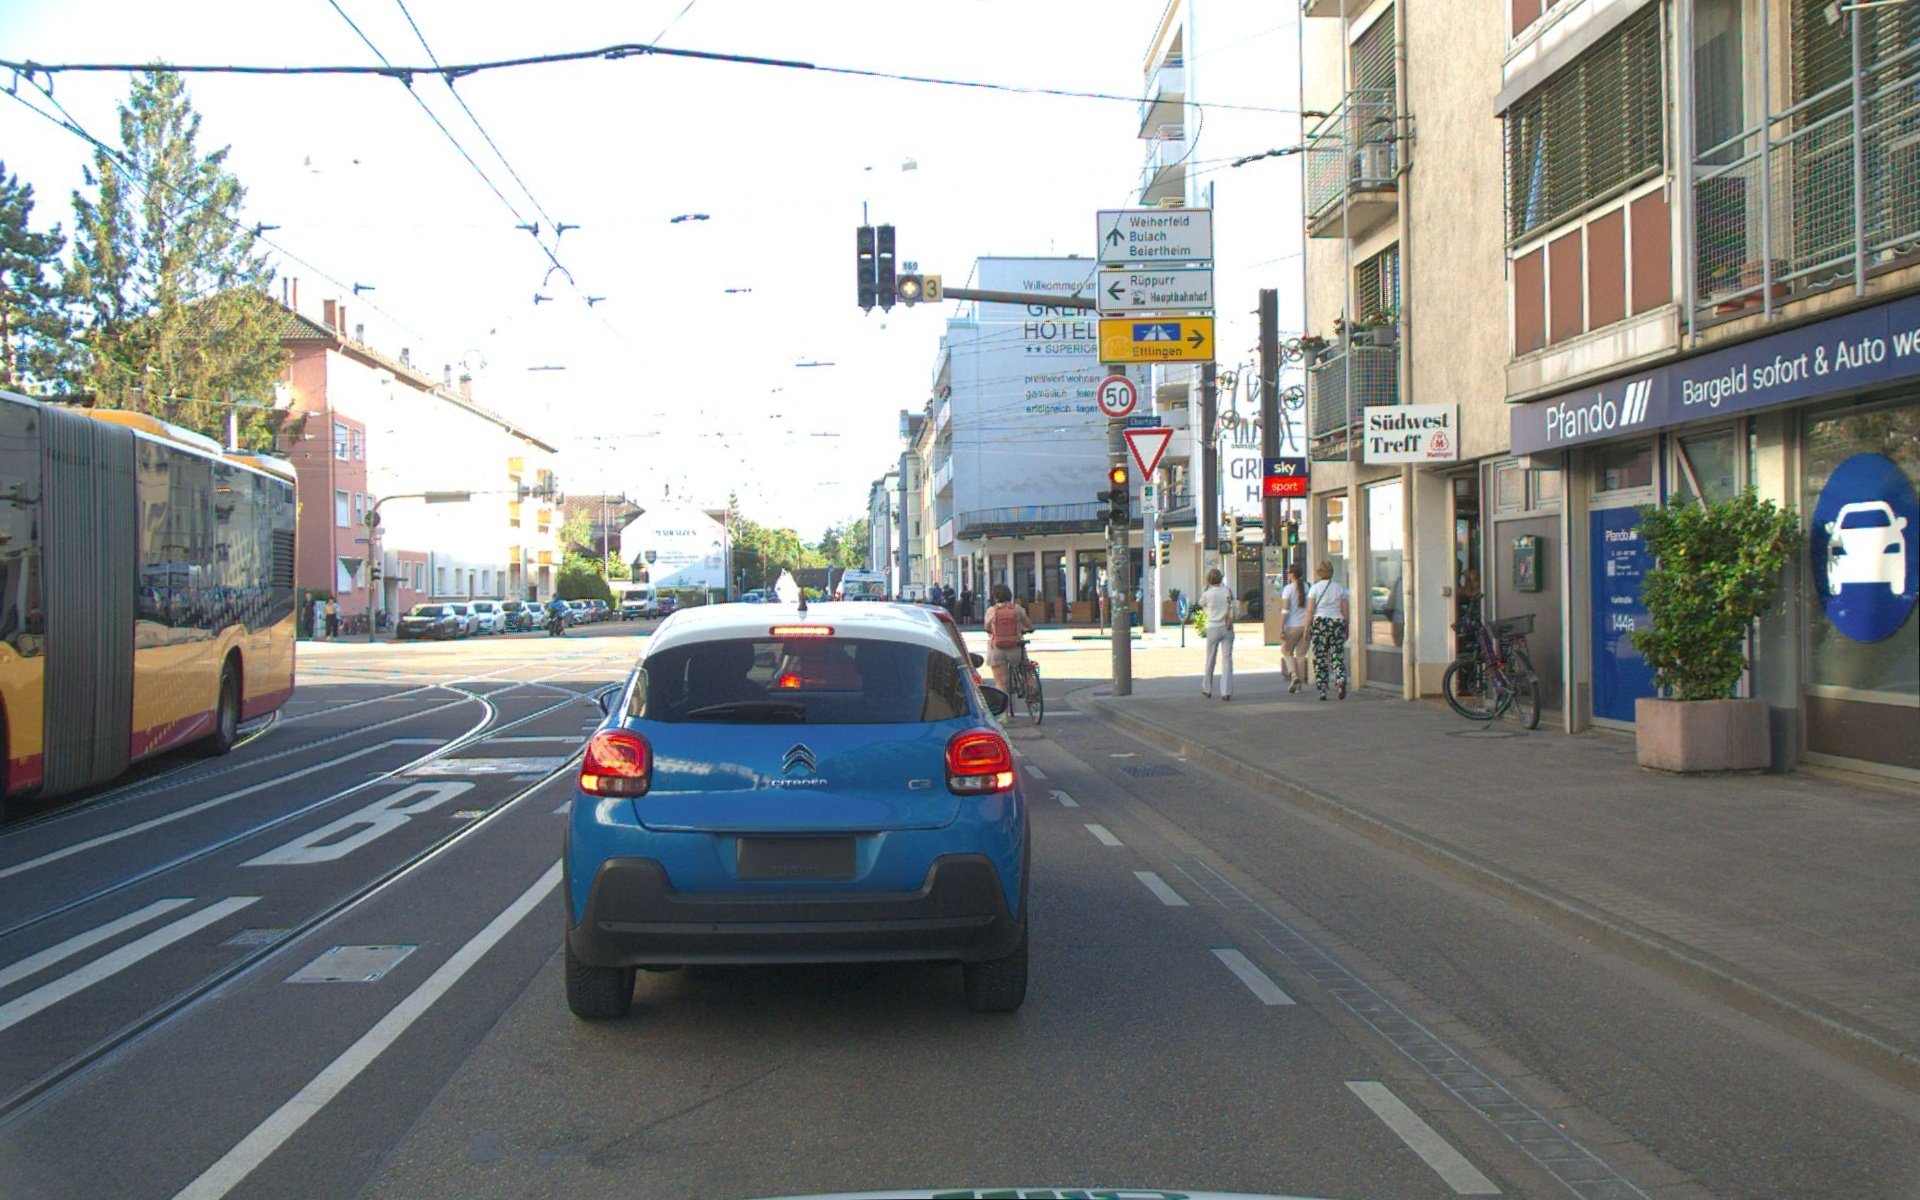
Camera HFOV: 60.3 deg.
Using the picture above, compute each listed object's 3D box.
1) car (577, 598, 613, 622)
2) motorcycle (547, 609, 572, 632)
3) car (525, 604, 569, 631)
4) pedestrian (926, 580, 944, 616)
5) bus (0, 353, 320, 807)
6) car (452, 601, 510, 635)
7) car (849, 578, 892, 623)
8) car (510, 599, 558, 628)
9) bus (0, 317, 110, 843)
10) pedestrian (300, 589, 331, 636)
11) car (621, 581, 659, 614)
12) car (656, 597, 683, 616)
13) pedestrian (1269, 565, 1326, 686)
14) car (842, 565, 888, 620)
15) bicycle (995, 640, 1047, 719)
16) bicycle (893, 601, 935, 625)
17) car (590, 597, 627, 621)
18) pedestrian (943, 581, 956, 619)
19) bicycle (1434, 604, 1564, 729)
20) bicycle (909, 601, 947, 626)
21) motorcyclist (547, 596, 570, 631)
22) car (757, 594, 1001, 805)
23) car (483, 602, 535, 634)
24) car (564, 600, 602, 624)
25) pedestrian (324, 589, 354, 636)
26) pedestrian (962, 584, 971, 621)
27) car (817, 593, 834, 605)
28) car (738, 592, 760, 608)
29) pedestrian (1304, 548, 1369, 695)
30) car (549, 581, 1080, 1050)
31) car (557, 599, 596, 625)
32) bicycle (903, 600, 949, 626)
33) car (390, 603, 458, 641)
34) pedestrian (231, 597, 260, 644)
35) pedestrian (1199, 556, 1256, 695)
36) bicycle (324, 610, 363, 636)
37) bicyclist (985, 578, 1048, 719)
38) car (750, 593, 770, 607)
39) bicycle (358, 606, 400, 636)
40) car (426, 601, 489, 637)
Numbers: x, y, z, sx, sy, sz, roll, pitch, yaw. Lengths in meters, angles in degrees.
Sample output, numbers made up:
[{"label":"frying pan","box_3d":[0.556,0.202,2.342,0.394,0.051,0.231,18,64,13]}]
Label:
[{"label":"car","box_3d":[-25.519,0.711,115.758,1.833,1.601,3.997,-1,0,-4]},{"label":"motorcycle","box_3d":[-16.228,0.832,67.015,0.603,0.879,1.670,-1,0,-1]},{"label":"car","box_3d":[-24.271,1.011,97.281,1.874,1.523,3.996,-1,0,-5]},{"label":"pedestrian","box_3d":[-1.099,-0.080,72.555,0.637,1.583,0.490,-1,0,-23]},{"label":"bus","box_3d":[-8.105,-0.144,15.297,2.689,3.217,7.558,-1,0,-11]},{"label":"car","box_3d":[-22.786,0.846,78.812,1.874,1.523,3.996,-1,0,-5]},{"label":"car","box_3d":[-3.667,0.033,67.458,1.698,1.780,3.211,0,0,-4]},{"label":"car","box_3d":[-23.607,0.738,91.720,1.874,1.523,3.996,-1,0,-5]},{"label":"bus","box_3d":[-6.787,-0.086,6.509,2.670,3.213,10.180,-1,0,-7]},{"label":"pedestrian","box_3d":[-24.248,0.465,62.216,0.826,1.720,0.737,-1,0,2]},{"label":"car","box_3d":[-22.884,-0.187,118.423,2.164,2.290,4.672,-1,0,-5]},{"label":"car","box_3d":[-25.315,0.578,144.217,1.982,1.552,3.996,-1,0,-5]},{"label":"pedestrian","box_3d":[4.409,0.321,21.623,0.530,1.534,0.611,-3,2,-3]},{"label":"car","box_3d":[-4.165,-0.316,72.366,1.954,2.366,3.997,0,0,-4]},{"label":"bicycle","box_3d":[0.748,0.971,20.707,0.489,0.879,1.748,-1,0,-3]},{"label":"bicycle","box_3d":[-1.899,0.534,68.369,1.684,0.973,0.702,-1,0,1]},{"label":"car","box_3d":[-25.726,0.617,121.181,1.990,1.647,4.508,-1,0,-3]},{"label":"pedestrian","box_3d":[-0.453,0.002,69.951,0.482,1.583,0.383,-1,0,-4]},{"label":"bicycle","box_3d":[5.107,0.599,15.782,0.519,1.091,1.809,-1,0,-4]},{"label":"bicycle","box_3d":[-1.260,0.530,65.960,1.473,0.973,0.702,-1,0,1]},{"label":"motorcyclist","box_3d":[-16.221,0.540,66.860,0.704,1.402,0.911,-1,0,-1]},{"label":"car","box_3d":[-0.598,0.691,13.638,1.703,1.445,3.999,-1,0,-1]},{"label":"car","box_3d":[-23.325,0.909,85.586,1.874,1.523,3.996,-1,0,-5]},{"label":"car","box_3d":[-25.200,0.762,110.670,1.874,1.523,3.996,-1,0,-5]},{"label":"pedestrian","box_3d":[-23.388,0.463,62.328,0.826,1.720,0.737,-1,0,2]},{"label":"pedestrian","box_3d":[0.279,0.103,70.141,0.279,1.583,0.304,-1,0,-10]},{"label":"car","box_3d":[-14.861,-0.089,182.869,1.722,1.281,3.826,-1,0,-8]},{"label":"car","box_3d":[-21.541,0.006,169.064,1.982,1.552,3.996,-1,0,-5]},{"label":"pedestrian","box_3d":[4.503,0.254,19.825,0.530,1.701,0.650,-3,0,-3]},{"label":"car","box_3d":[-0.682,0.679,7.347,1.710,1.488,3.994,0,0,-7]},{"label":"car","box_3d":[-24.473,0.756,105.683,1.874,1.523,3.996,-1,0,-5]},{"label":"bicycle","box_3d":[-1.365,0.529,67.018,1.835,0.973,0.702,-1,0,1]},{"label":"car","box_3d":[-22.148,0.897,68.472,1.874,1.458,3.995,-1,0,-6]},{"label":"pedestrian","box_3d":[-25.188,0.720,58.332,0.841,1.654,0.509,-1,0,-35]},{"label":"pedestrian","box_3d":[3.377,0.313,20.903,0.530,1.701,0.624,-3,2,-3]},{"label":"bicycle","box_3d":[-25.088,0.926,67.348,0.718,0.968,2.596,-1,0,-2]},{"label":"bicyclist","box_3d":[0.687,0.579,20.285,0.711,1.674,0.790,-1,0,-1]},{"label":"car","box_3d":[-22.604,-0.011,186.983,1.982,1.552,3.996,-1,0,-5]},{"label":"bicycle","box_3d":[-25.704,0.896,73.259,0.831,1.247,3.302,-1,0,-2]},{"label":"car","box_3d":[-22.508,0.818,74.193,1.874,1.523,3.996,-1,0,-5]}]
